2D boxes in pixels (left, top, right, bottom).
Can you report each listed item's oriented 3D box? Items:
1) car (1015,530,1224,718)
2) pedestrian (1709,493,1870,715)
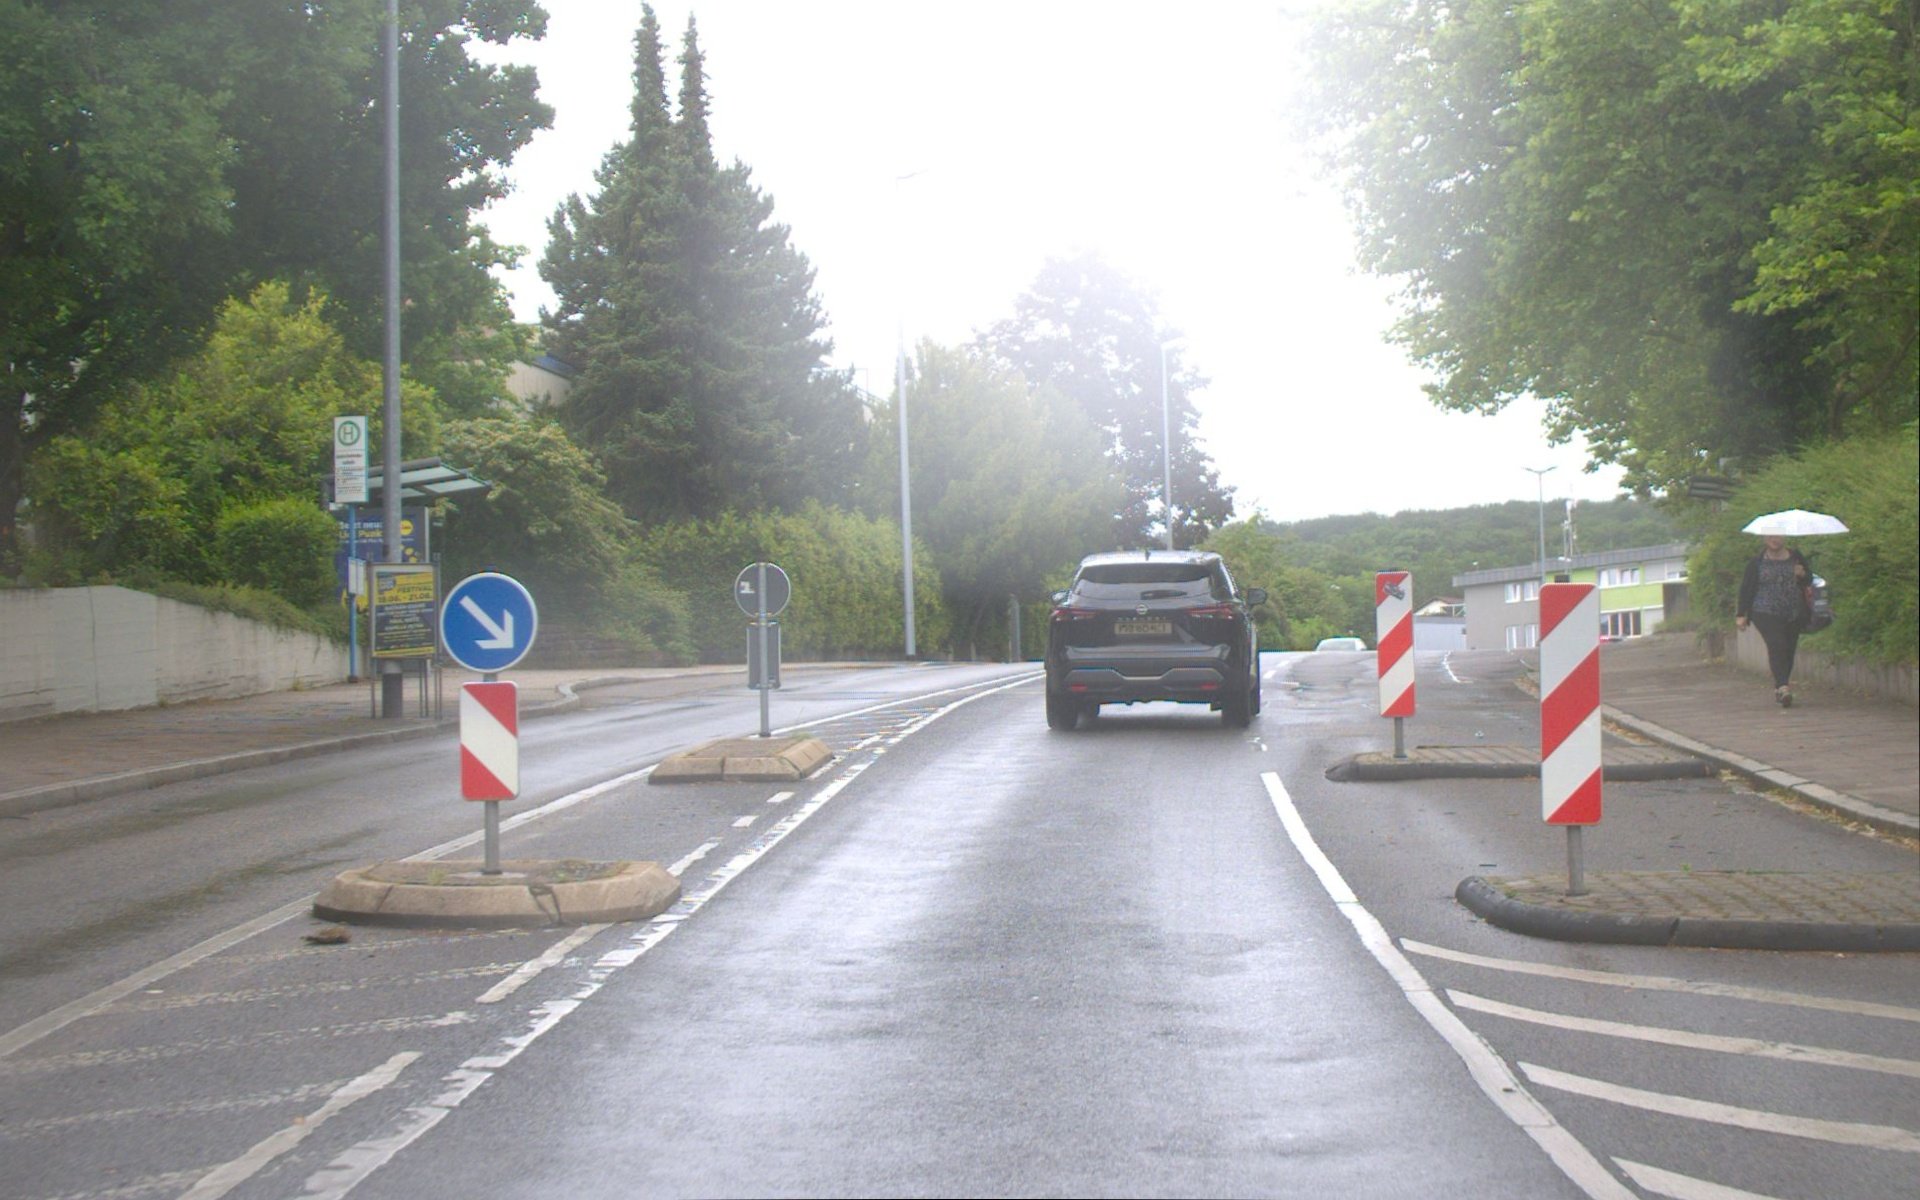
[{"bbox_3d":[1.430,0.170,32.084,1.790,1.598,4.253,-1,1,1],"label":"car"},{"bbox_3d":[7.219,0.046,29.978,1.051,1.887,1.133,-1,-2,-2],"label":"pedestrian"}]
